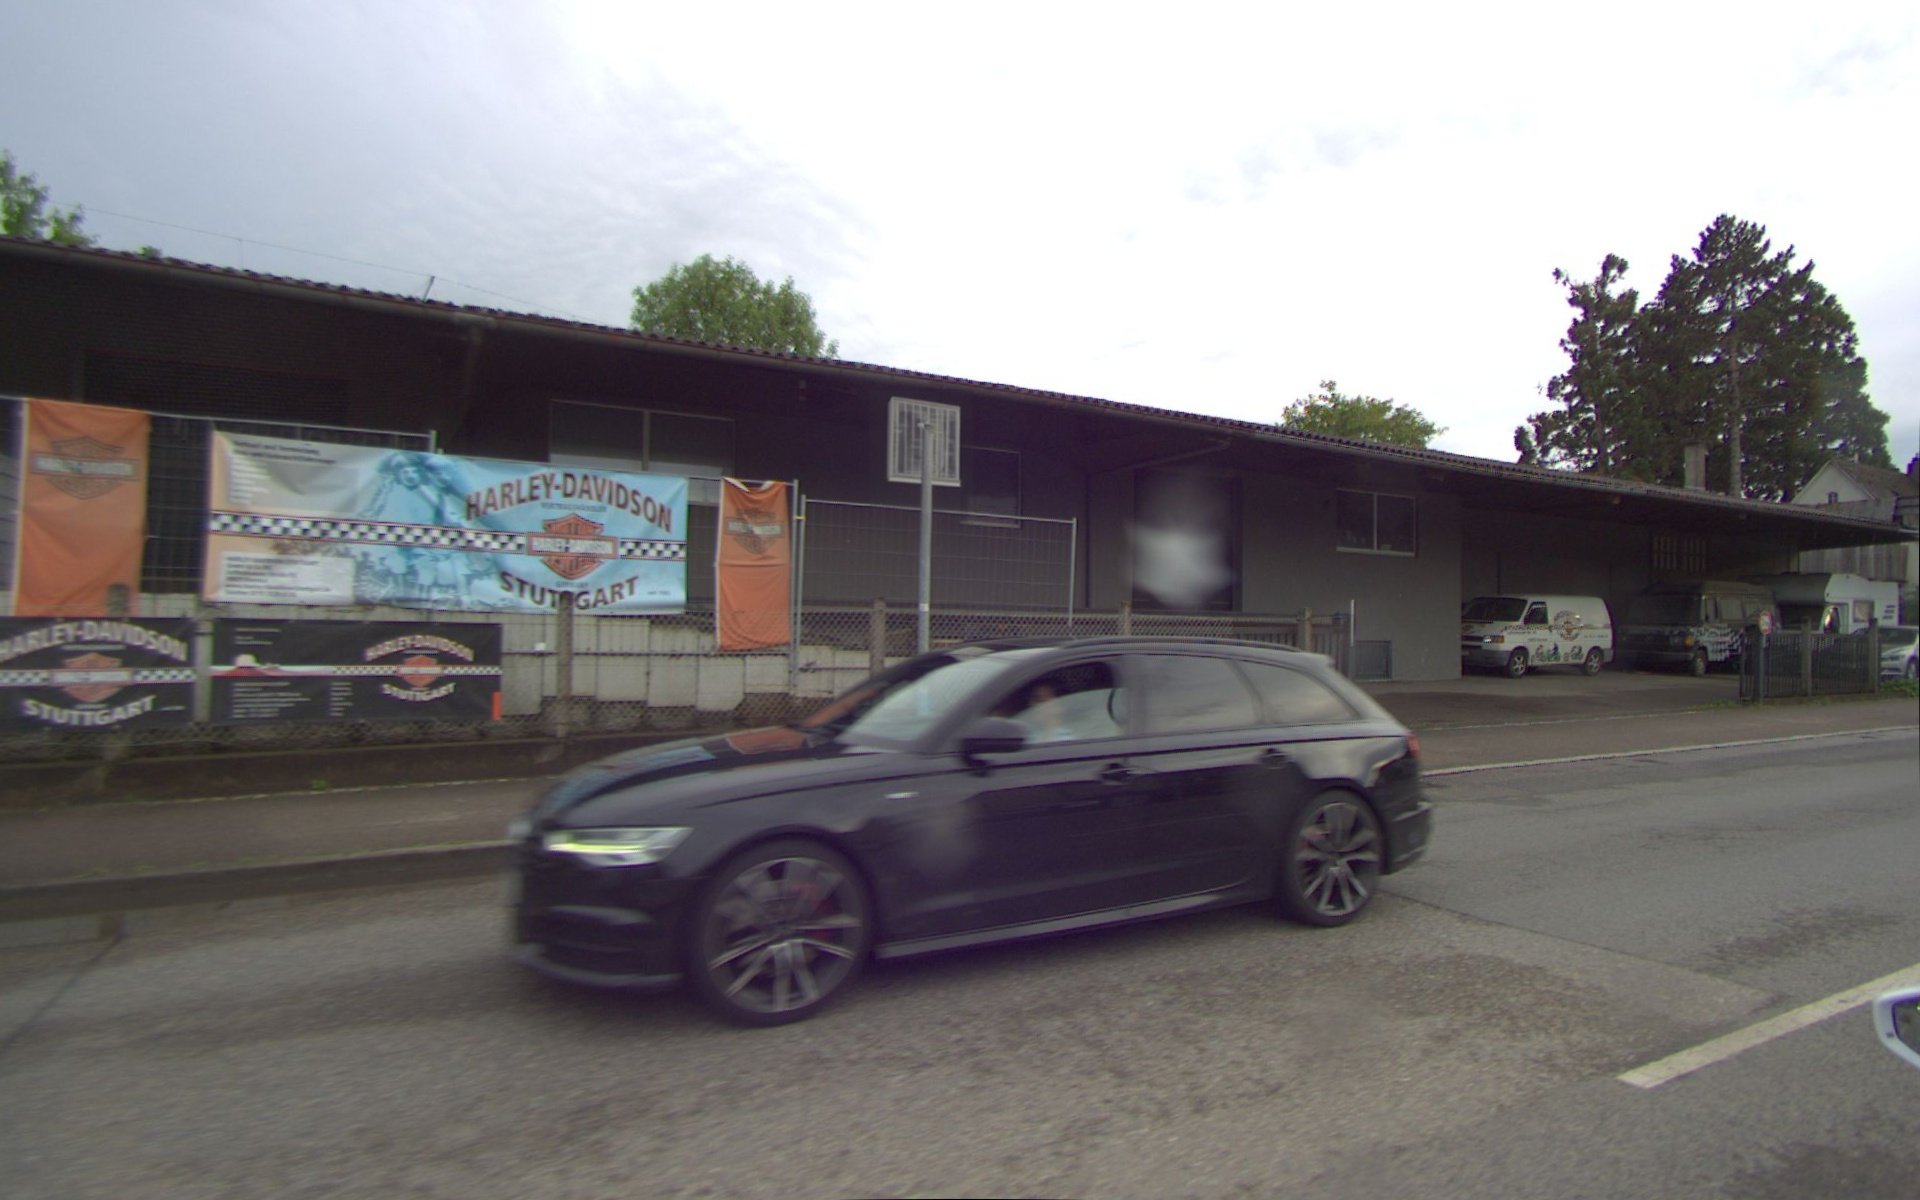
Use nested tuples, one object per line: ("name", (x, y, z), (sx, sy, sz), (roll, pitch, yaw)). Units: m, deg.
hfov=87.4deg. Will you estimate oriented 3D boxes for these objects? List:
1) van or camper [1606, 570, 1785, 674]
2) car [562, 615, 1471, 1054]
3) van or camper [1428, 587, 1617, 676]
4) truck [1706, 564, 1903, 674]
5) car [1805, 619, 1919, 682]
("van or camper", (19.709, 0.615, 26.856), (5.173, 2.469, 1.850), (3, 1, -30))
("car", (0.435, 0.932, 5.248), (4.487, 1.470, 1.736), (3, -5, -28))
("van or camper", (13.495, 0.743, 24.049), (4.420, 1.934, 1.983), (2, 1, -31))
("truck", (24.757, 0.586, 29.402), (5.884, 2.966, 2.384), (2, 0, -29))
("car", (24.361, 1.310, 26.236), (4.723, 1.463, 1.928), (2, -1, -29))
